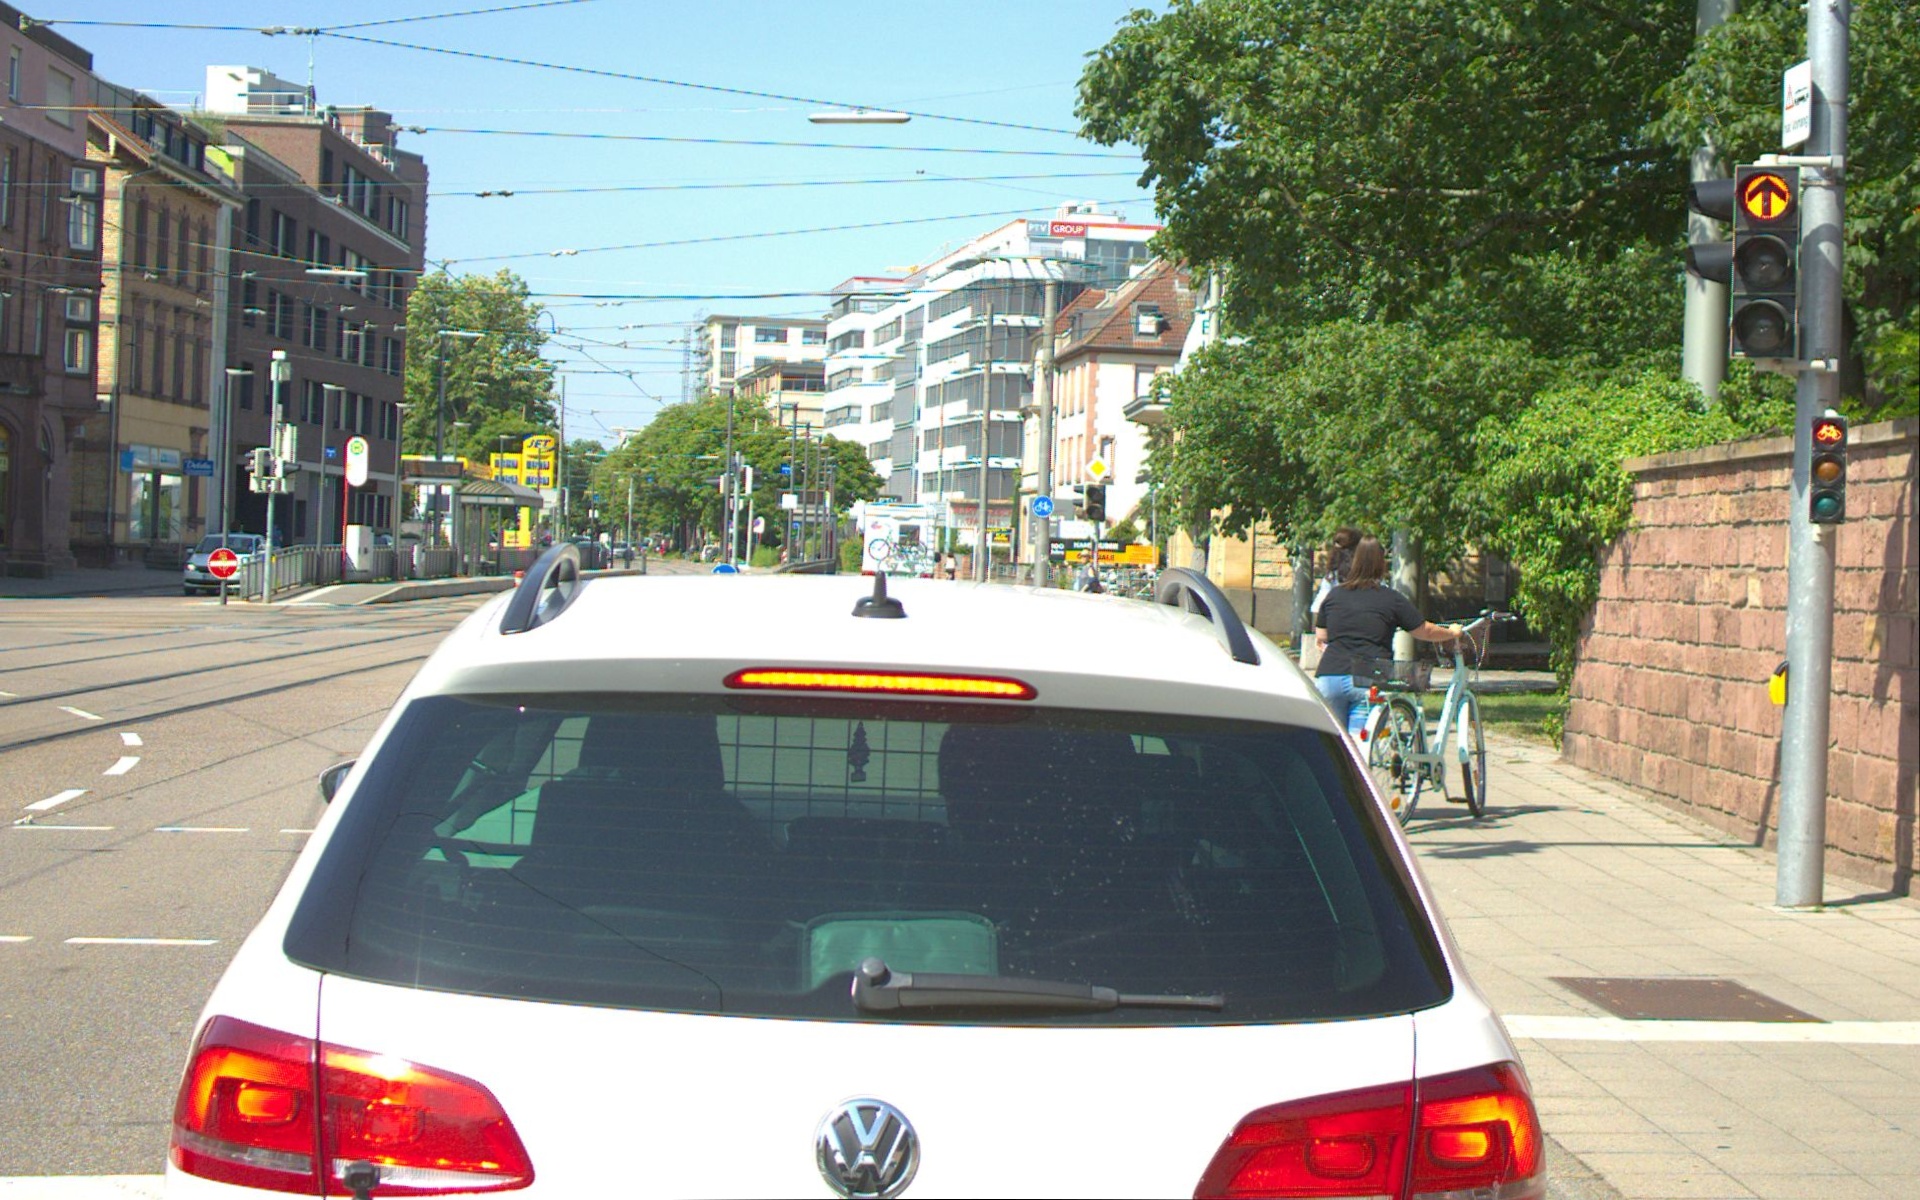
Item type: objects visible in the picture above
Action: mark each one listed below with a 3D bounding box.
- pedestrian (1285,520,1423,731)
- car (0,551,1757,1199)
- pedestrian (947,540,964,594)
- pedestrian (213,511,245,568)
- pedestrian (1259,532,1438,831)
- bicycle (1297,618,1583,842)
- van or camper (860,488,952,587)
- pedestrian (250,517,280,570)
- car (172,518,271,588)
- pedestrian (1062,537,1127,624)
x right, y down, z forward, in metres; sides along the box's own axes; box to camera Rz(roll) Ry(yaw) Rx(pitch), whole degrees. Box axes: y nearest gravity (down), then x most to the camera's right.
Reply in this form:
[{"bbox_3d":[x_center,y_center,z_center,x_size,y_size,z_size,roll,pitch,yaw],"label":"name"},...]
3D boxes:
[{"bbox_3d":[3.126,0.199,27.359,0.953,1.645,0.975,0,0,-2],"label":"pedestrian"},{"bbox_3d":[-0.150,0.678,5.475,1.808,1.443,4.000,2,1,-1],"label":"car"},{"bbox_3d":[-0.192,-1.434,150.051,0.690,2.317,1.232,0,0,1],"label":"pedestrian"},{"bbox_3d":[-22.754,-1.876,107.071,0.861,1.737,0.975,0,0,-6],"label":"pedestrian"},{"bbox_3d":[2.112,0.422,18.673,0.674,1.566,0.747,2,2,34],"label":"pedestrian"},{"bbox_3d":[2.609,0.668,18.501,0.709,1.086,2.022,1,1,34],"label":"bicycle"},{"bbox_3d":[-1.711,-1.986,111.243,2.567,3.082,5.702,0,0,3],"label":"van or camper"},{"bbox_3d":[-22.948,-1.863,113.469,0.861,1.737,0.975,0,0,-6],"label":"pedestrian"},{"bbox_3d":[-17.593,-1.110,82.041,1.740,1.612,4.000,0,0,-4],"label":"car"},{"bbox_3d":[2.700,-0.388,68.782,0.974,1.737,0.862,0,0,38],"label":"pedestrian"}]
